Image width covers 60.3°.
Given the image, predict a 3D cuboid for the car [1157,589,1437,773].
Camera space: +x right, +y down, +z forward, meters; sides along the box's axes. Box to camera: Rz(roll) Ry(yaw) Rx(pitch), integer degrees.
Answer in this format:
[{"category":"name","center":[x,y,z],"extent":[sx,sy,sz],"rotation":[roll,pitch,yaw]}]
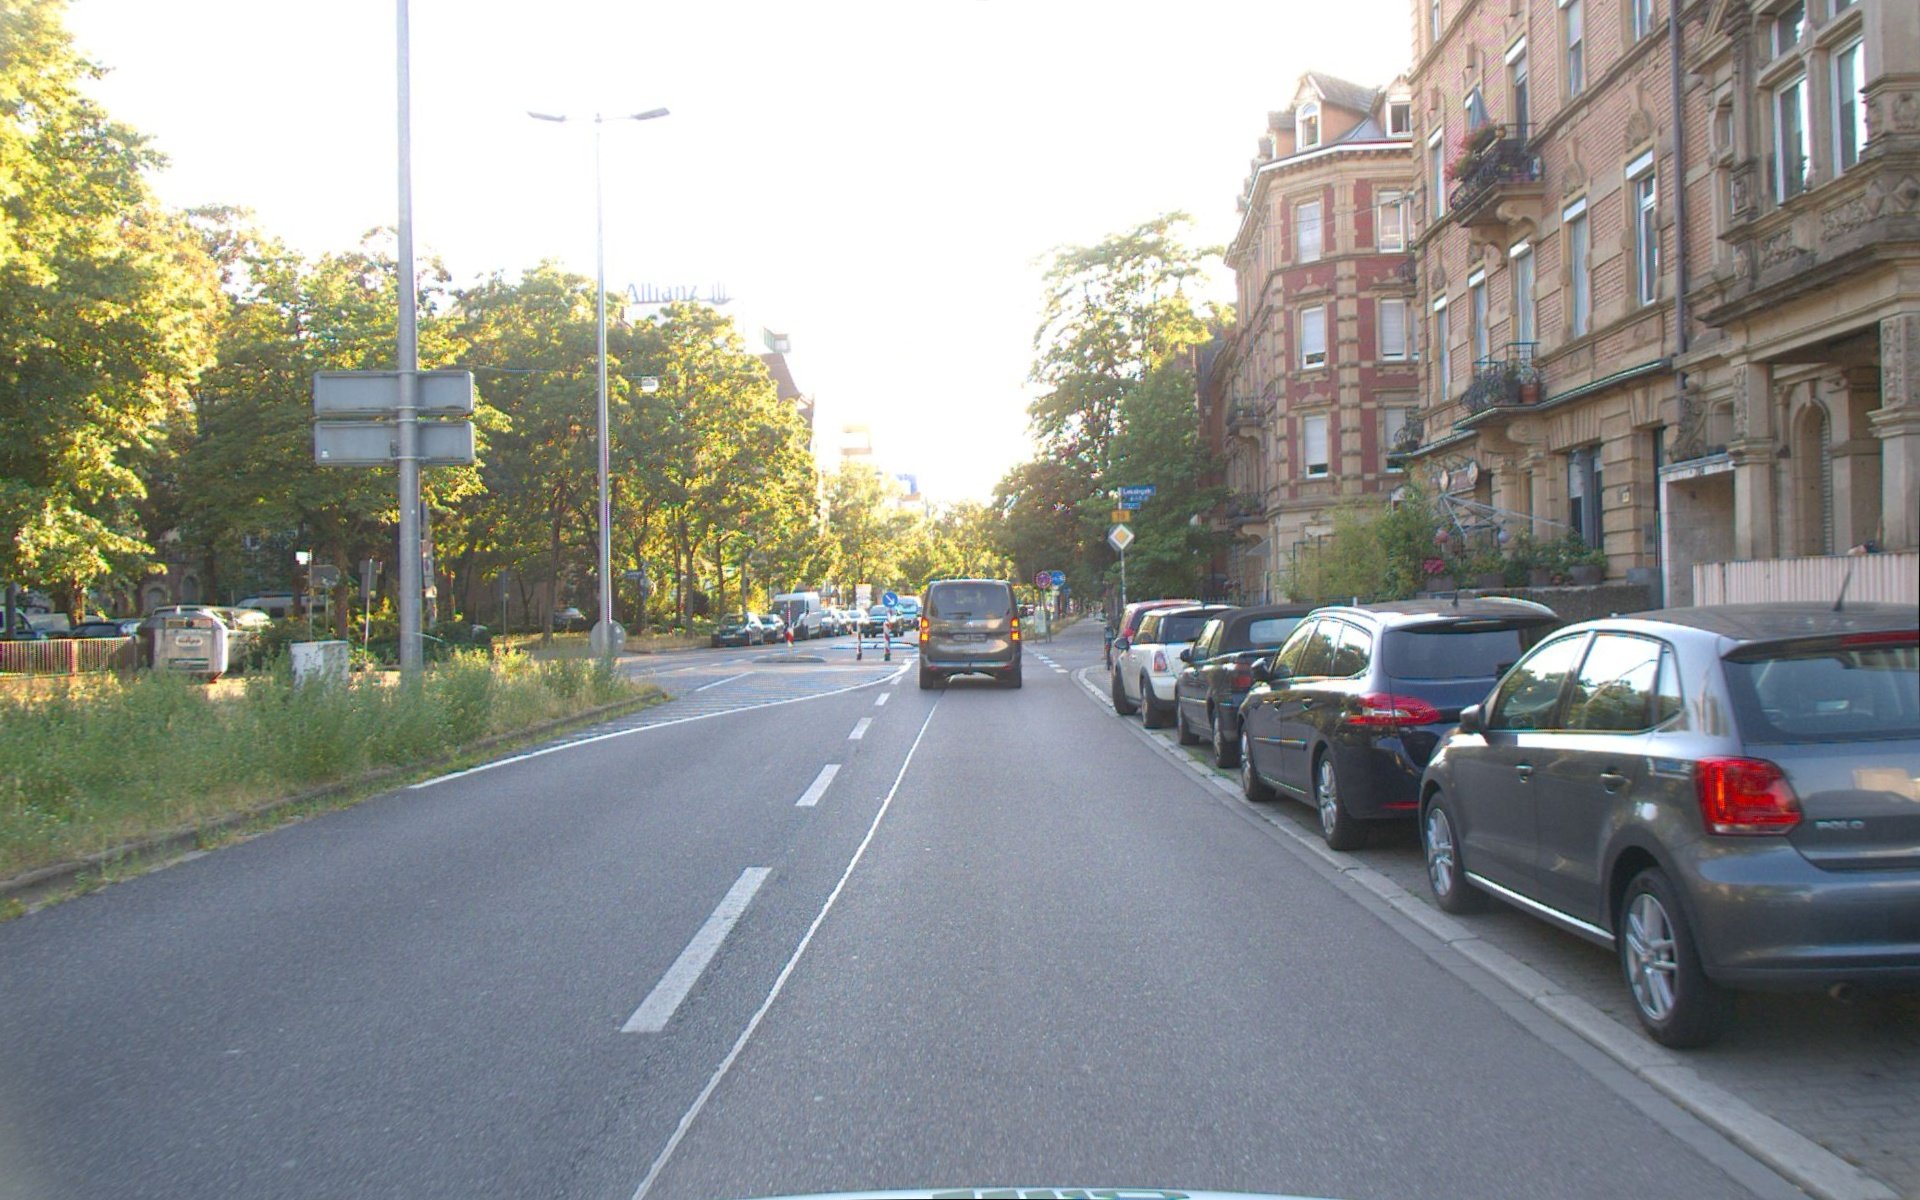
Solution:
[{"category":"car","center":[3.204,0.714,16.648],"extent":[1.849,1.451,4.342],"rotation":[-5,0,0]}]

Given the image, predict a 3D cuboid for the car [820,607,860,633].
[{"category":"car","center":[-7.278,1.216,100.472],"extent":[1.699,1.471,4.627],"rotation":[-1,0,4]}]

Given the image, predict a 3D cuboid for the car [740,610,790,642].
[{"category":"car","center":[-9.414,1.236,79.962],"extent":[1.594,1.454,4.244],"rotation":[-2,0,4]}]

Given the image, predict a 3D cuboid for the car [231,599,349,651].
[{"category":"car","center":[-34.342,1.274,84.905],"extent":[2.230,2.529,5.210],"rotation":[-2,0,38]}]

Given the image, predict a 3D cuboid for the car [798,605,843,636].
[{"category":"car","center":[-7.960,1.156,94.974],"extent":[1.826,1.673,4.573],"rotation":[-2,0,4]}]

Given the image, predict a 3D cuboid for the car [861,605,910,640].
[{"category":"car","center":[-3.997,1.180,89.246],"extent":[1.837,1.735,4.570],"rotation":[-4,-1,6]}]

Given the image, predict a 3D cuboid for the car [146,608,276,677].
[{"category":"car","center":[-20.879,1.155,46.279],"extent":[1.781,1.826,4.000],"rotation":[-1,0,0]}]

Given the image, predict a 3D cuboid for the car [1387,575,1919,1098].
[{"category":"car","center":[3.188,0.693,6.860],"extent":[1.712,1.451,3.839],"rotation":[-5,0,-1]}]

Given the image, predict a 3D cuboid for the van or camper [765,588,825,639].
[{"category":"van or camper","center":[-8.680,0.710,87.445],"extent":[2.047,2.511,6.308],"rotation":[-2,0,4]}]

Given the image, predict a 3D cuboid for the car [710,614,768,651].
[{"category":"car","center":[-9.840,1.413,73.947],"extent":[1.589,1.533,4.546],"rotation":[-2,0,5]}]

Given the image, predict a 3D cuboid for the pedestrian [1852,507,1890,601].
[{"category":"pedestrian","center":[8.769,-0.439,15.918],"extent":[0.303,0.885,0.319],"rotation":[0,-1,33]}]

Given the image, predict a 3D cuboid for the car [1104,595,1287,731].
[{"category":"car","center":[2.917,0.745,21.193],"extent":[1.643,1.451,3.675],"rotation":[-5,0,-1]}]

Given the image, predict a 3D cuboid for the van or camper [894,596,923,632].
[{"category":"van or camper","center":[-3.983,1.042,127.848],"extent":[1.952,2.715,6.039],"rotation":[0,0,1]}]

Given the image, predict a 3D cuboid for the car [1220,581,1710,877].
[{"category":"car","center":[3.135,0.719,11.334],"extent":[1.849,1.473,4.463],"rotation":[-5,0,-1]}]

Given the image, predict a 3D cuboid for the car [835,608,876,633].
[{"category":"car","center":[-6.749,1.327,107.255],"extent":[1.951,1.509,4.831],"rotation":[-1,0,4]}]

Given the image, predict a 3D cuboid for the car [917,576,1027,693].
[{"category":"car","center":[0.184,0.598,30.417],"extent":[1.849,1.958,3.838],"rotation":[-2,0,-1]}]

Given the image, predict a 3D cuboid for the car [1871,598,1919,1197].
[{"category":"car","center":[3.127,0.679,2.051],"extent":[1.666,1.513,3.891],"rotation":[-5,0,-2]}]

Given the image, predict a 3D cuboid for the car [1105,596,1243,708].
[{"category":"car","center":[3.268,0.757,25.831],"extent":[1.691,1.490,3.547],"rotation":[-5,0,2]}]

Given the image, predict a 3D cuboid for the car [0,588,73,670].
[{"category":"car","center":[-28.144,0.840,47.477],"extent":[2.168,2.329,5.102],"rotation":[-1,0,7]}]

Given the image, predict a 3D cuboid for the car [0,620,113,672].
[{"category":"car","center":[-25.807,1.276,46.720],"extent":[1.697,1.355,4.000],"rotation":[-1,0,0]}]

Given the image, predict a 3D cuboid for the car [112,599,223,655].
[{"category":"car","center":[-28.013,0.935,58.585],"extent":[1.952,1.915,4.000],"rotation":[0,0,0]}]

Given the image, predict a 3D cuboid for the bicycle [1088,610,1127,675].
[{"category":"bicycle","center":[3.206,0.938,36.098],"extent":[0.554,1.321,2.264],"rotation":[-5,-2,0]}]
